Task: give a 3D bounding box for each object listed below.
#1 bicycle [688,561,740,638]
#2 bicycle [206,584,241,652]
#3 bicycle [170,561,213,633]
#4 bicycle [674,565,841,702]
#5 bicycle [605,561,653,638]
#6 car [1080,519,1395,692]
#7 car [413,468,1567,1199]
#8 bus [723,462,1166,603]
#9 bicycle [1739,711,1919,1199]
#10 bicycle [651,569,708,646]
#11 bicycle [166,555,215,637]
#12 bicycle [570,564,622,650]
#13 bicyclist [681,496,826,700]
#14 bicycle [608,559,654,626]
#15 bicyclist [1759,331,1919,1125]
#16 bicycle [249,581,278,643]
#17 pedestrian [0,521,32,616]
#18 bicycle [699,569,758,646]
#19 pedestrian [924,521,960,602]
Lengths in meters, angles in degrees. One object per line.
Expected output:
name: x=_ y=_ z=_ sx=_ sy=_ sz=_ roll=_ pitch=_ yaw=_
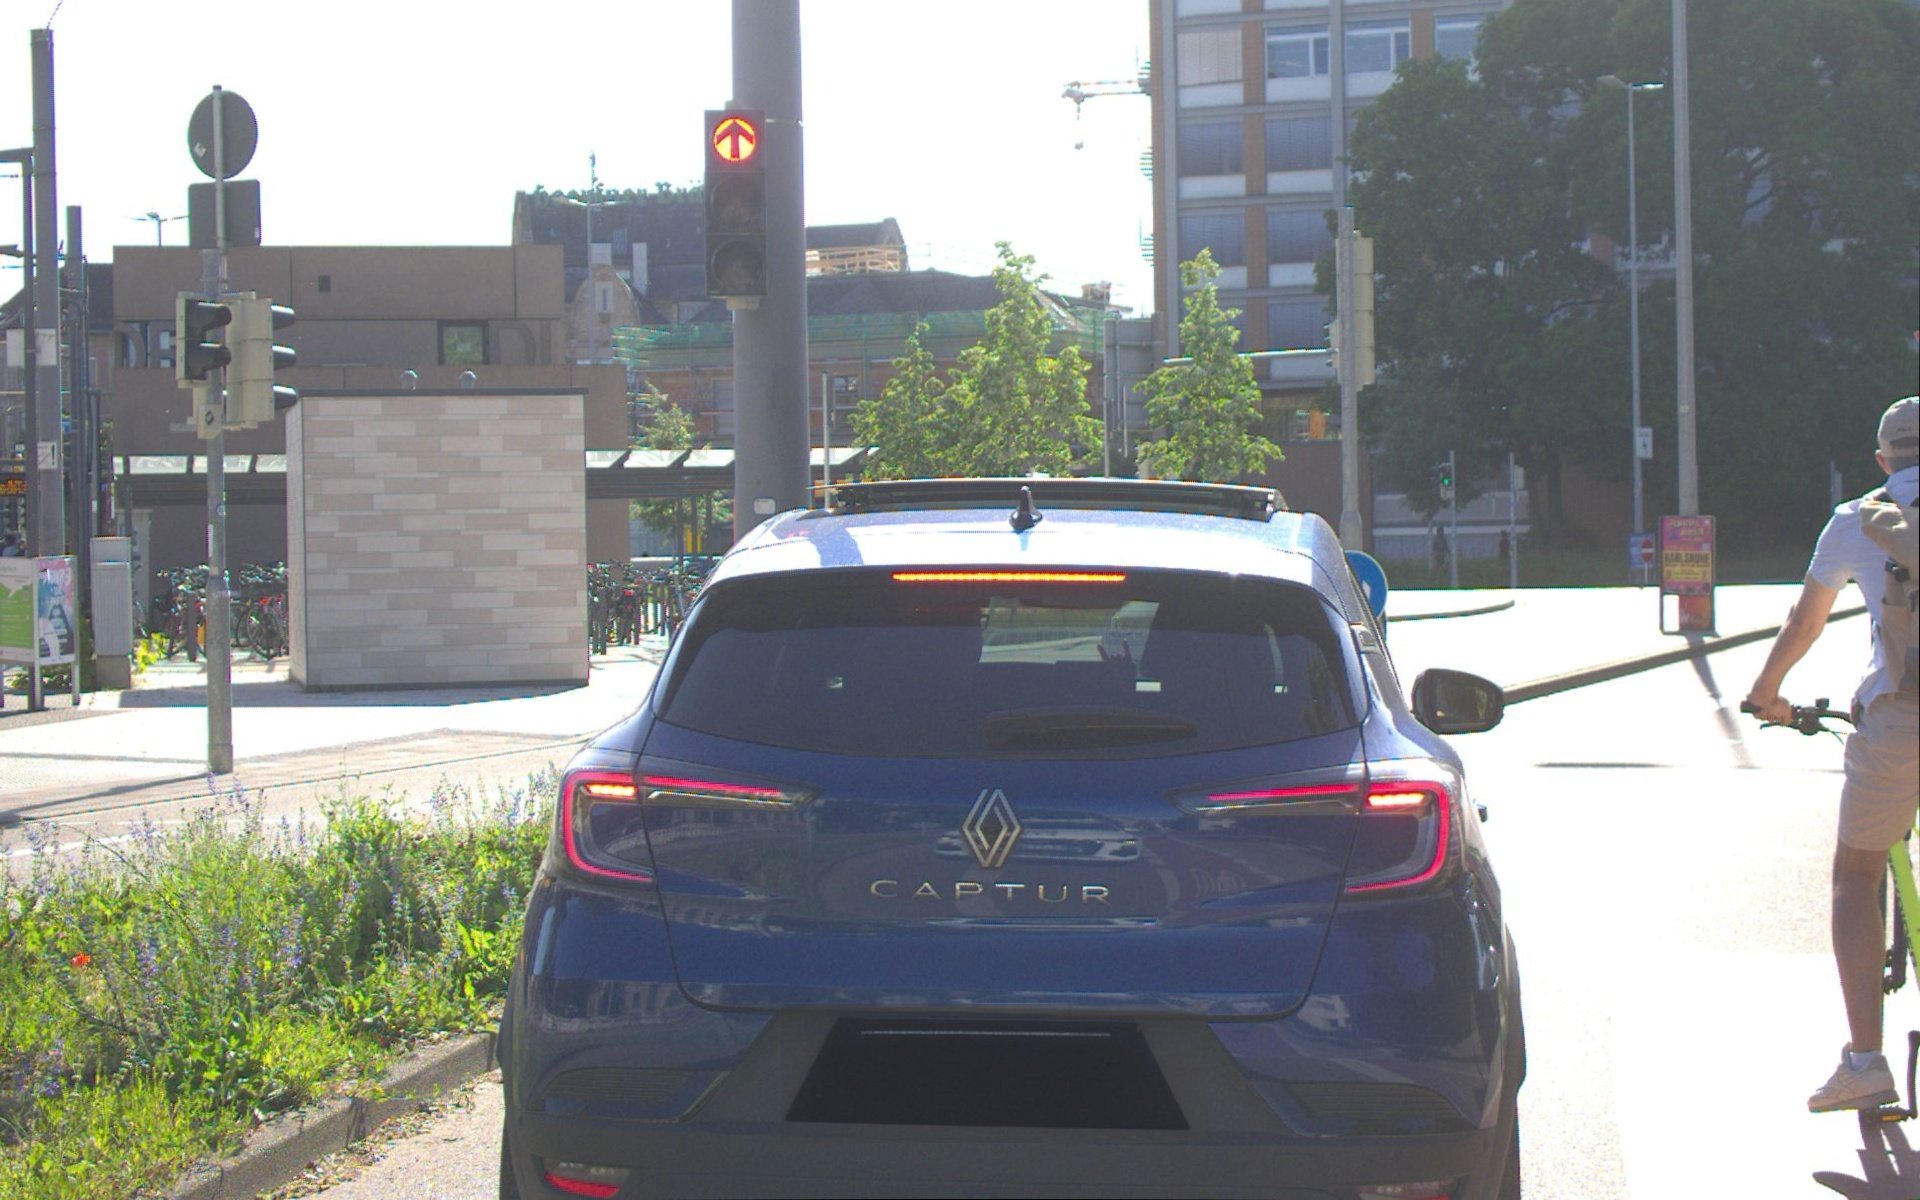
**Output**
bicycle: x=-3.542 y=-0.004 z=49.389 sx=0.580 sy=1.084 sz=2.059 roll=0 pitch=0 yaw=-8
bicycle: x=-10.357 y=0.250 z=48.326 sx=0.421 sy=0.934 sz=1.306 roll=1 pitch=1 yaw=-15
bicycle: x=-11.831 y=-0.043 z=52.927 sx=0.565 sy=1.090 sz=2.030 roll=0 pitch=0 yaw=-10
bicycle: x=-1.664 y=0.263 z=28.599 sx=0.773 sy=1.077 sz=2.034 roll=-1 pitch=0 yaw=15
bicycle: x=-4.752 y=-0.009 z=49.330 sx=0.580 sy=1.084 sz=2.059 roll=0 pitch=0 yaw=-8
car: x=2.561 y=0.007 z=30.773 sx=1.802 sy=1.388 sz=4.089 roll=-1 pitch=2 yaw=19
car: x=0.213 y=0.560 z=7.264 sx=1.823 sy=1.594 sz=3.658 roll=1 pitch=1 yaw=6
bus: x=-0.586 y=-1.628 z=87.582 sx=12.434 sy=3.384 sz=2.876 roll=0 pitch=0 yaw=40
bicycle: x=2.288 y=0.834 z=8.171 sx=0.663 sy=1.043 sz=1.890 roll=0 pitch=1 yaw=7
bicycle: x=-3.571 y=0.097 z=43.658 sx=0.580 sy=0.958 sz=2.059 roll=0 pitch=0 yaw=-8
bicycle: x=-10.424 y=-0.050 z=46.603 sx=0.565 sy=1.090 sz=2.030 roll=0 pitch=0 yaw=-10
bicycle: x=-4.591 y=0.092 z=43.294 sx=0.580 sy=1.054 sz=1.817 roll=0 pitch=0 yaw=-8
bicyclist: x=-1.704 y=-0.021 z=28.539 sx=0.880 sy=1.639 sz=1.060 roll=-1 pitch=0 yaw=15
bicycle: x=-5.438 y=-0.115 z=56.811 sx=0.580 sy=1.084 sz=1.872 roll=0 pitch=0 yaw=-11
bicyclist: x=2.260 y=0.272 z=8.017 sx=0.664 sy=1.741 sz=1.005 roll=0 pitch=1 yaw=7
bicycle: x=-10.804 y=0.184 z=53.353 sx=0.421 sy=0.934 sz=1.379 roll=1 pitch=1 yaw=-11
pedestrian: x=-18.467 y=-0.611 z=67.075 sx=0.632 sy=1.850 sz=0.703 roll=0 pitch=0 yaw=-19
bicycle: x=-2.958 y=0.100 z=43.740 sx=0.580 sy=0.958 sz=2.059 roll=0 pitch=0 yaw=-8
pedestrian: x=-0.410 y=-0.881 z=78.586 sx=0.726 sy=1.850 sz=0.702 roll=0 pitch=0 yaw=9
